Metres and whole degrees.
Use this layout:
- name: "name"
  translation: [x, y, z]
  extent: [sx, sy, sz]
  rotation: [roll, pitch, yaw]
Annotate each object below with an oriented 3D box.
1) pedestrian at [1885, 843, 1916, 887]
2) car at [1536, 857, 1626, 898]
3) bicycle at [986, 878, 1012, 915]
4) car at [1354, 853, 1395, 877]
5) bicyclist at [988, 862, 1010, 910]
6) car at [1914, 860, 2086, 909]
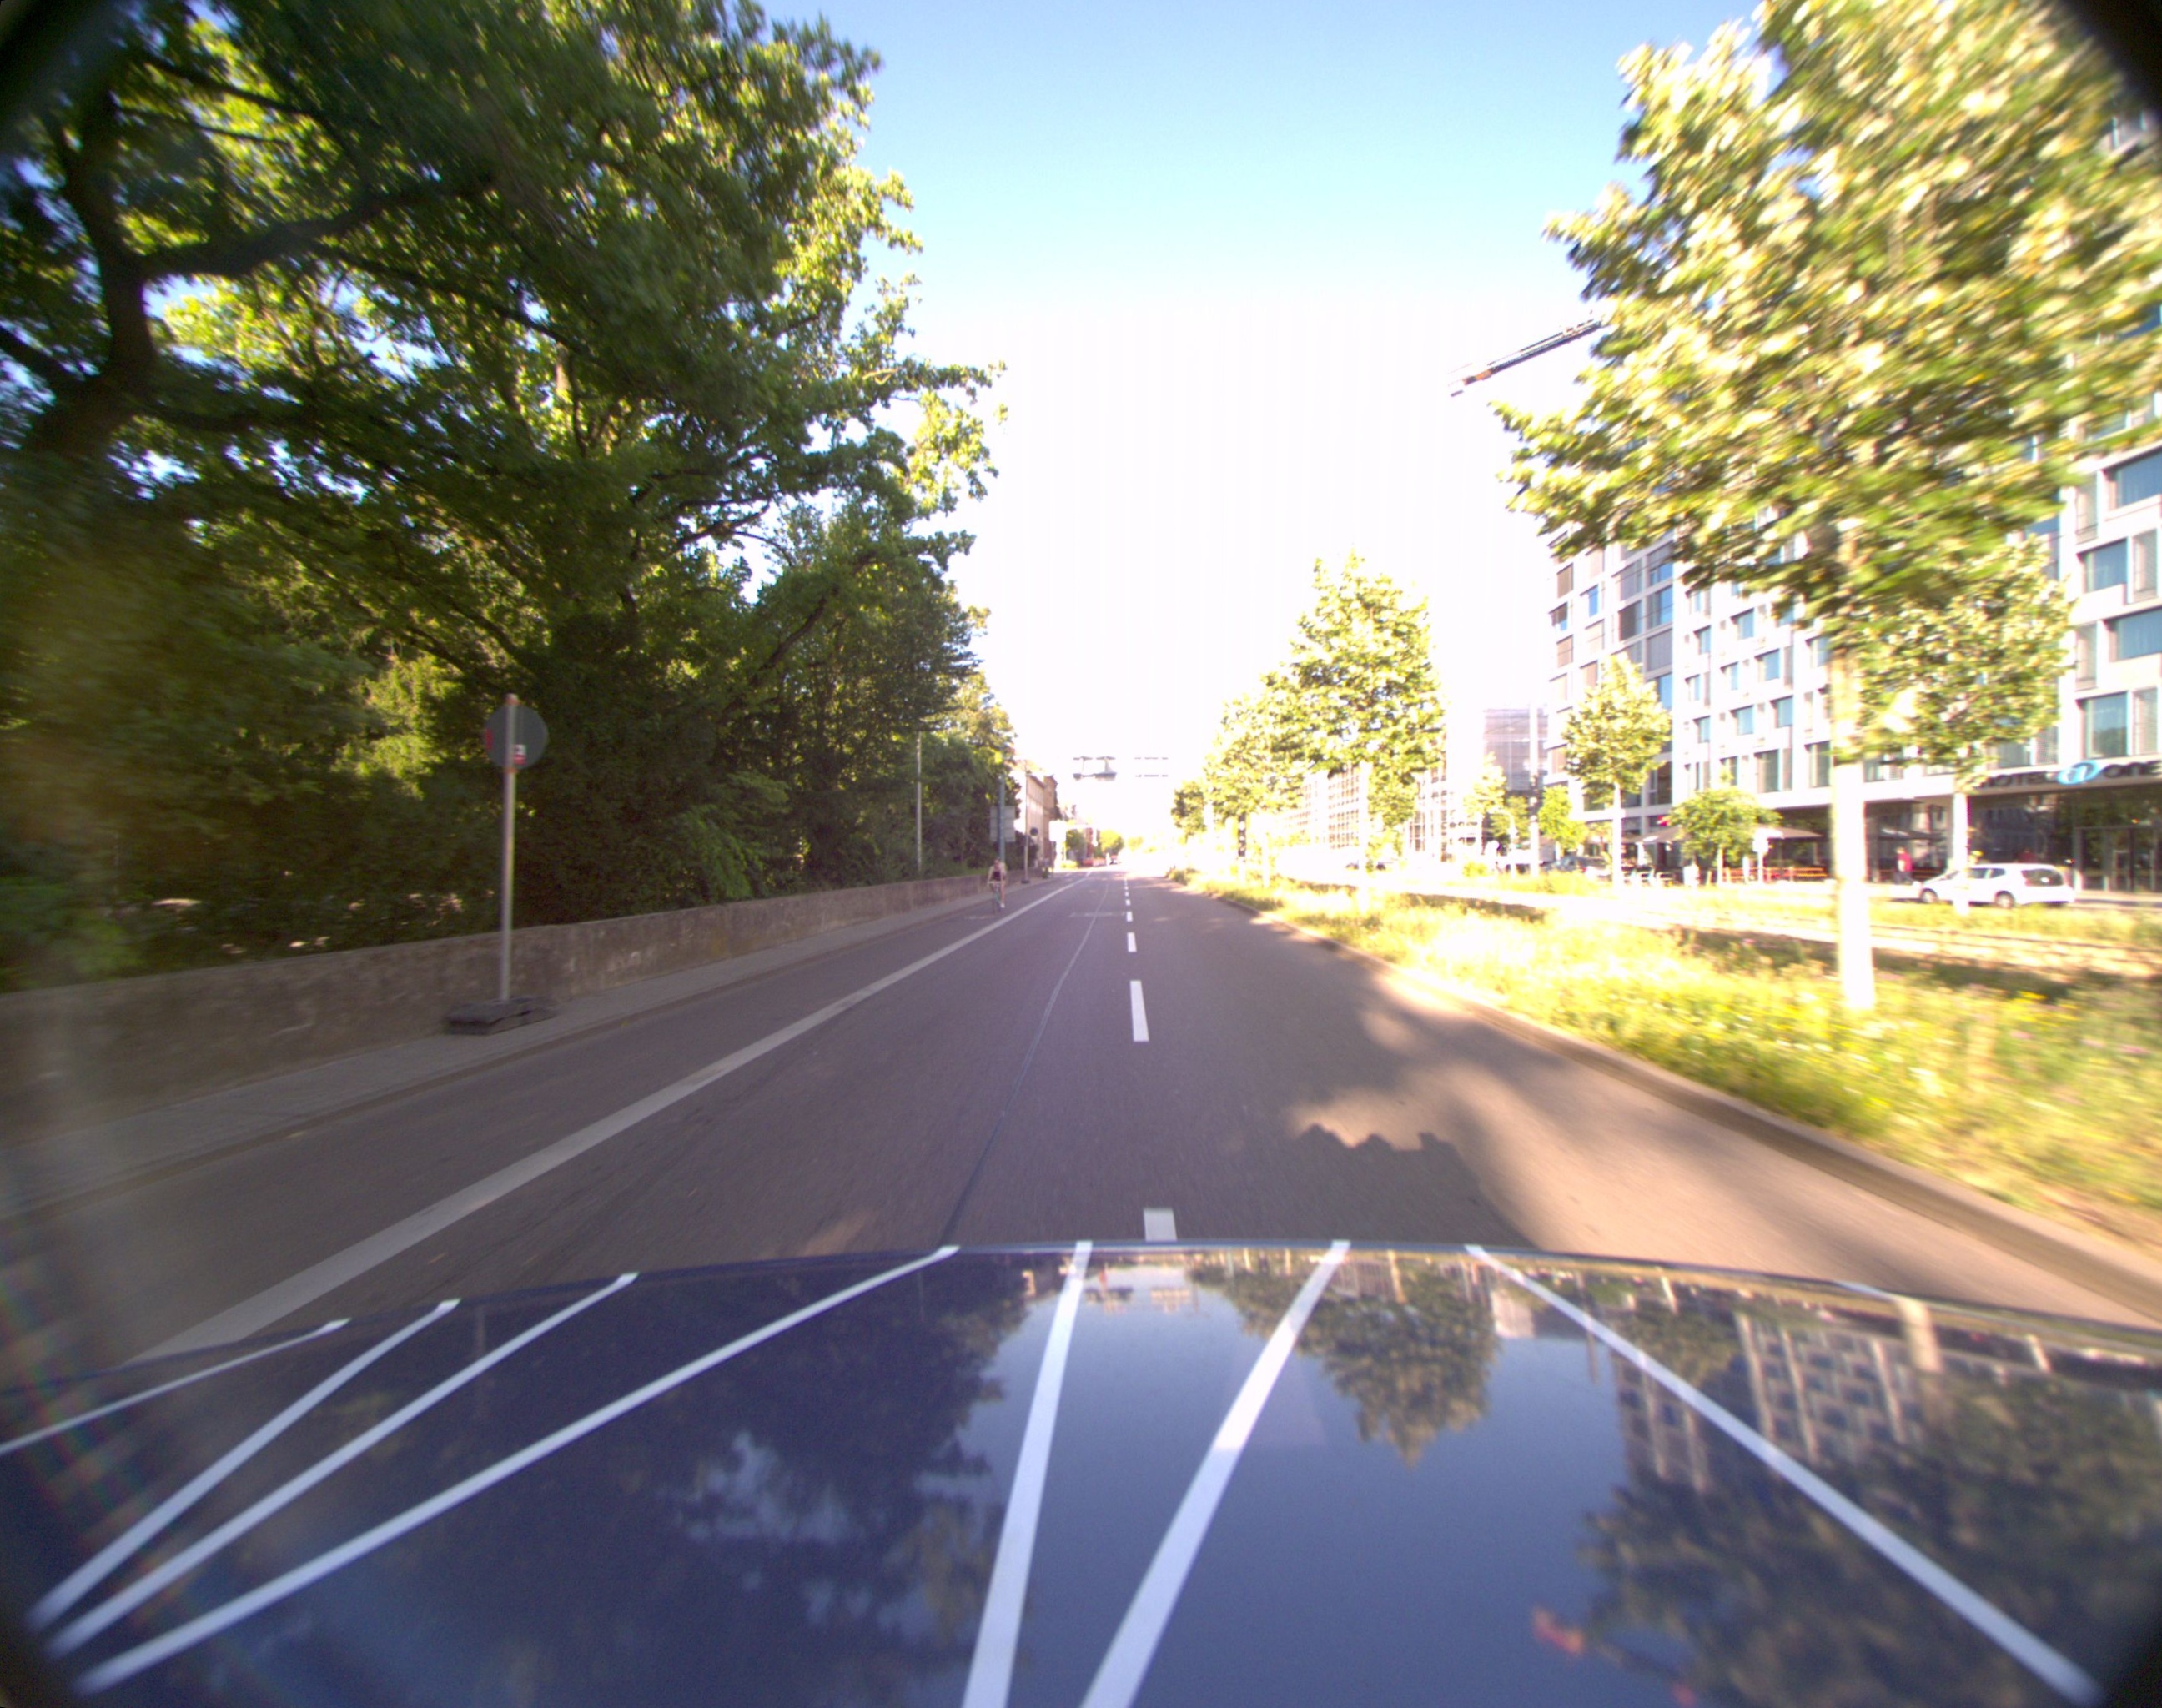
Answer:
- name: "pedestrian"
  translation: [38.017, 0.493, 35.252]
  extent: [0.621, 2.002, 0.726]
  rotation: [0, 1, 4]
- name: "car"
  translation: [23.613, 1.063, 36.041]
  extent: [1.874, 1.742, 3.793]
  rotation: [-2, 1, 3]
- name: "bicycle"
  translation: [-2.415, 1.239, 22.417]
  extent: [0.505, 1.018, 1.505]
  rotation: [0, 0, 3]
- name: "car"
  translation: [23.050, 0.861, 59.811]
  extent: [1.874, 1.742, 3.793]
  rotation: [-2, 1, 3]
- name: "bicyclist"
  translation: [-2.421, 0.929, 22.423]
  extent: [0.516, 1.399, 0.805]
  rotation: [0, 1, 3]
- name: "car"
  translation: [31.440, 0.993, 26.156]
  extent: [1.874, 1.457, 3.390]
  rotation: [-2, 1, 3]
